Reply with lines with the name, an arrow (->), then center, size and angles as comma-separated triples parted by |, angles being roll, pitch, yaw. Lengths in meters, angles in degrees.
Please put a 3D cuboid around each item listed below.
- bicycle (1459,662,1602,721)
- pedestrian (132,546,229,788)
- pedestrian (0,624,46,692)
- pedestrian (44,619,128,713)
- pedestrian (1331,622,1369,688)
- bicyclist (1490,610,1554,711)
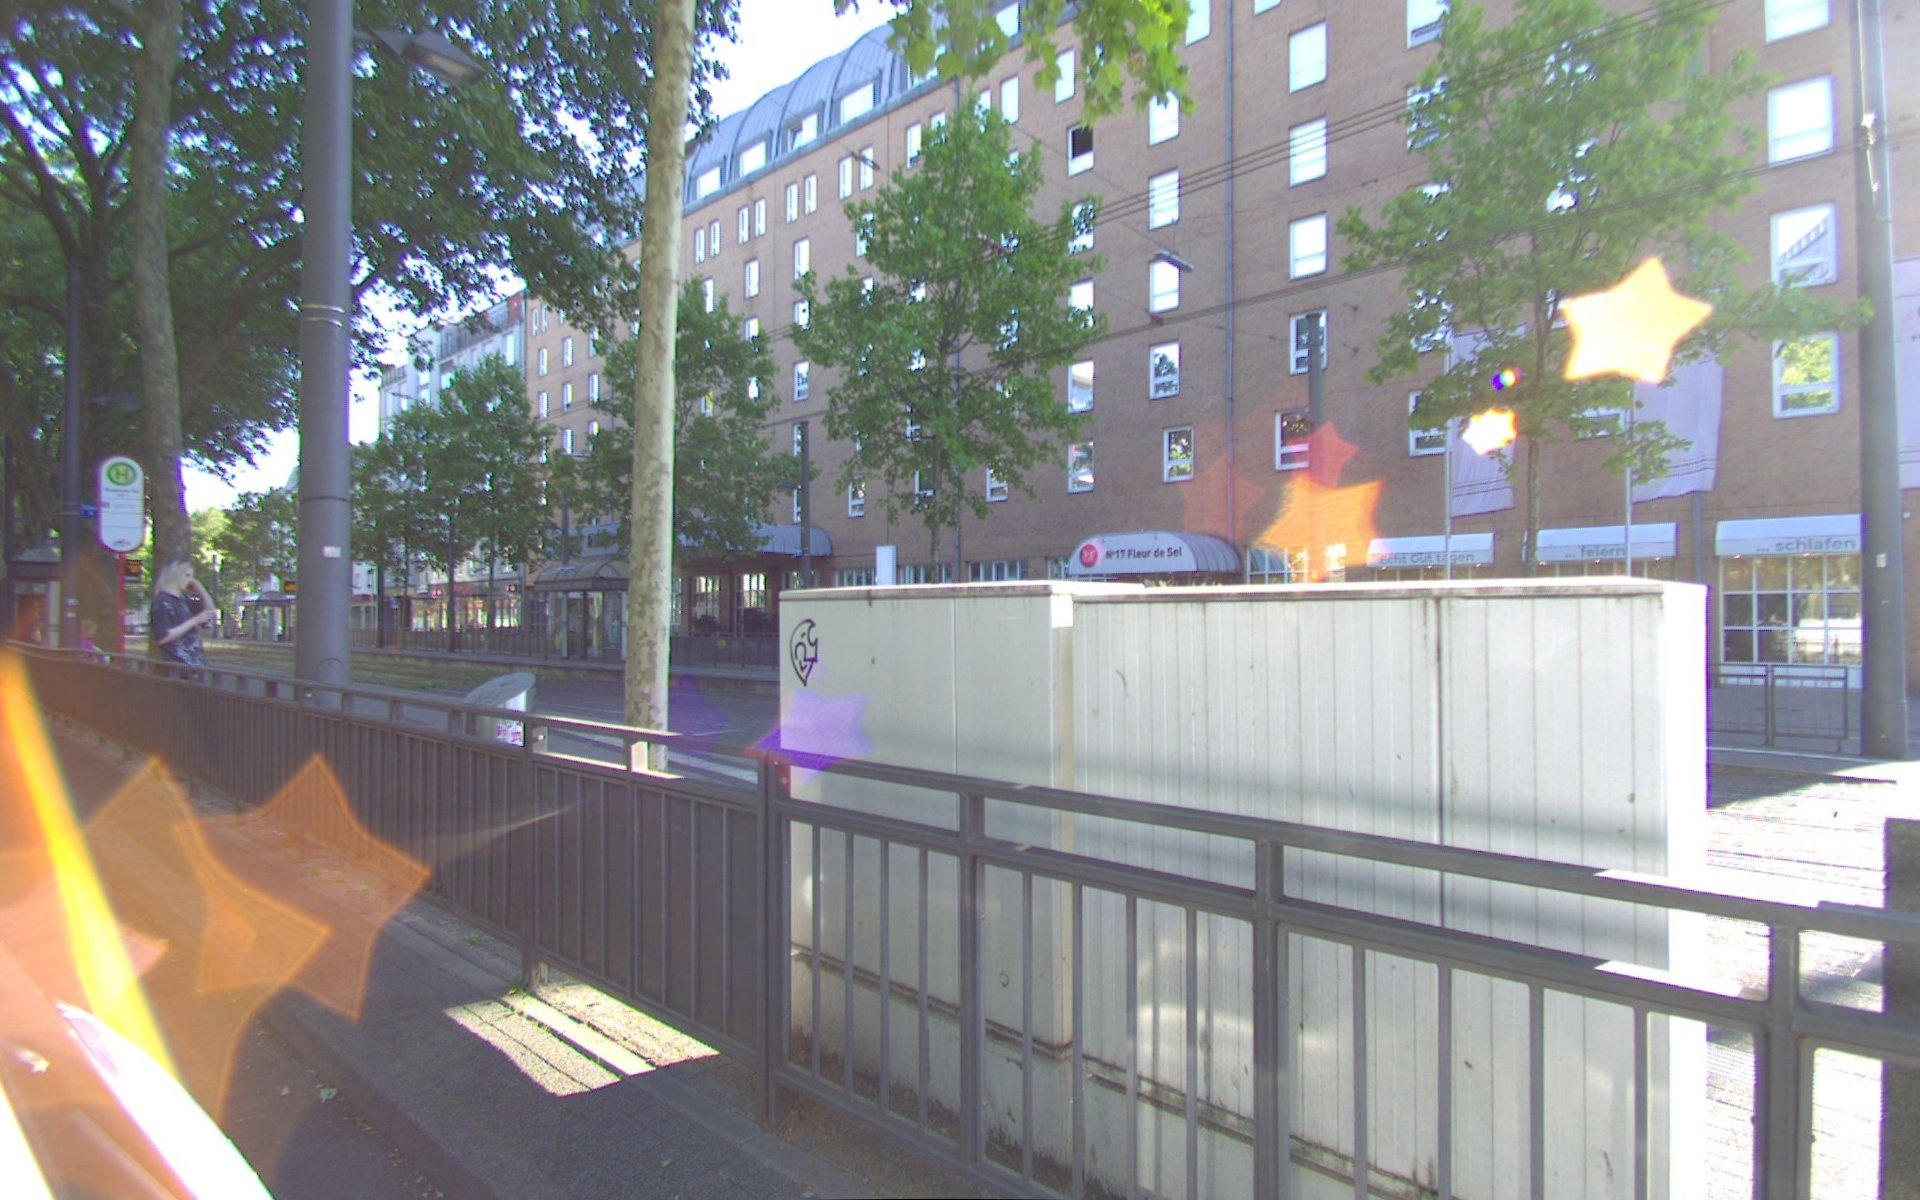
bicycle -> 10.410, 1.645, 18.527 | 2.185, 0.940, 0.658 | -2, -2, 44
pedestrian -> -6.523, 0.529, 8.460 | 0.760, 1.914, 0.504 | -1, 0, 42
pedestrian -> -20.096, 1.221, 21.699 | 0.725, 1.398, 0.641 | -1, 0, -44
pedestrian -> -13.929, 1.024, 16.136 | 0.965, 1.410, 0.665 | -1, 0, -44
pedestrian -> 9.814, 1.368, 25.468 | 0.725, 1.596, 0.583 | -1, 0, 40
bicyclist -> 10.340, 1.087, 18.620 | 0.852, 1.799, 0.742 | -2, -3, 44
